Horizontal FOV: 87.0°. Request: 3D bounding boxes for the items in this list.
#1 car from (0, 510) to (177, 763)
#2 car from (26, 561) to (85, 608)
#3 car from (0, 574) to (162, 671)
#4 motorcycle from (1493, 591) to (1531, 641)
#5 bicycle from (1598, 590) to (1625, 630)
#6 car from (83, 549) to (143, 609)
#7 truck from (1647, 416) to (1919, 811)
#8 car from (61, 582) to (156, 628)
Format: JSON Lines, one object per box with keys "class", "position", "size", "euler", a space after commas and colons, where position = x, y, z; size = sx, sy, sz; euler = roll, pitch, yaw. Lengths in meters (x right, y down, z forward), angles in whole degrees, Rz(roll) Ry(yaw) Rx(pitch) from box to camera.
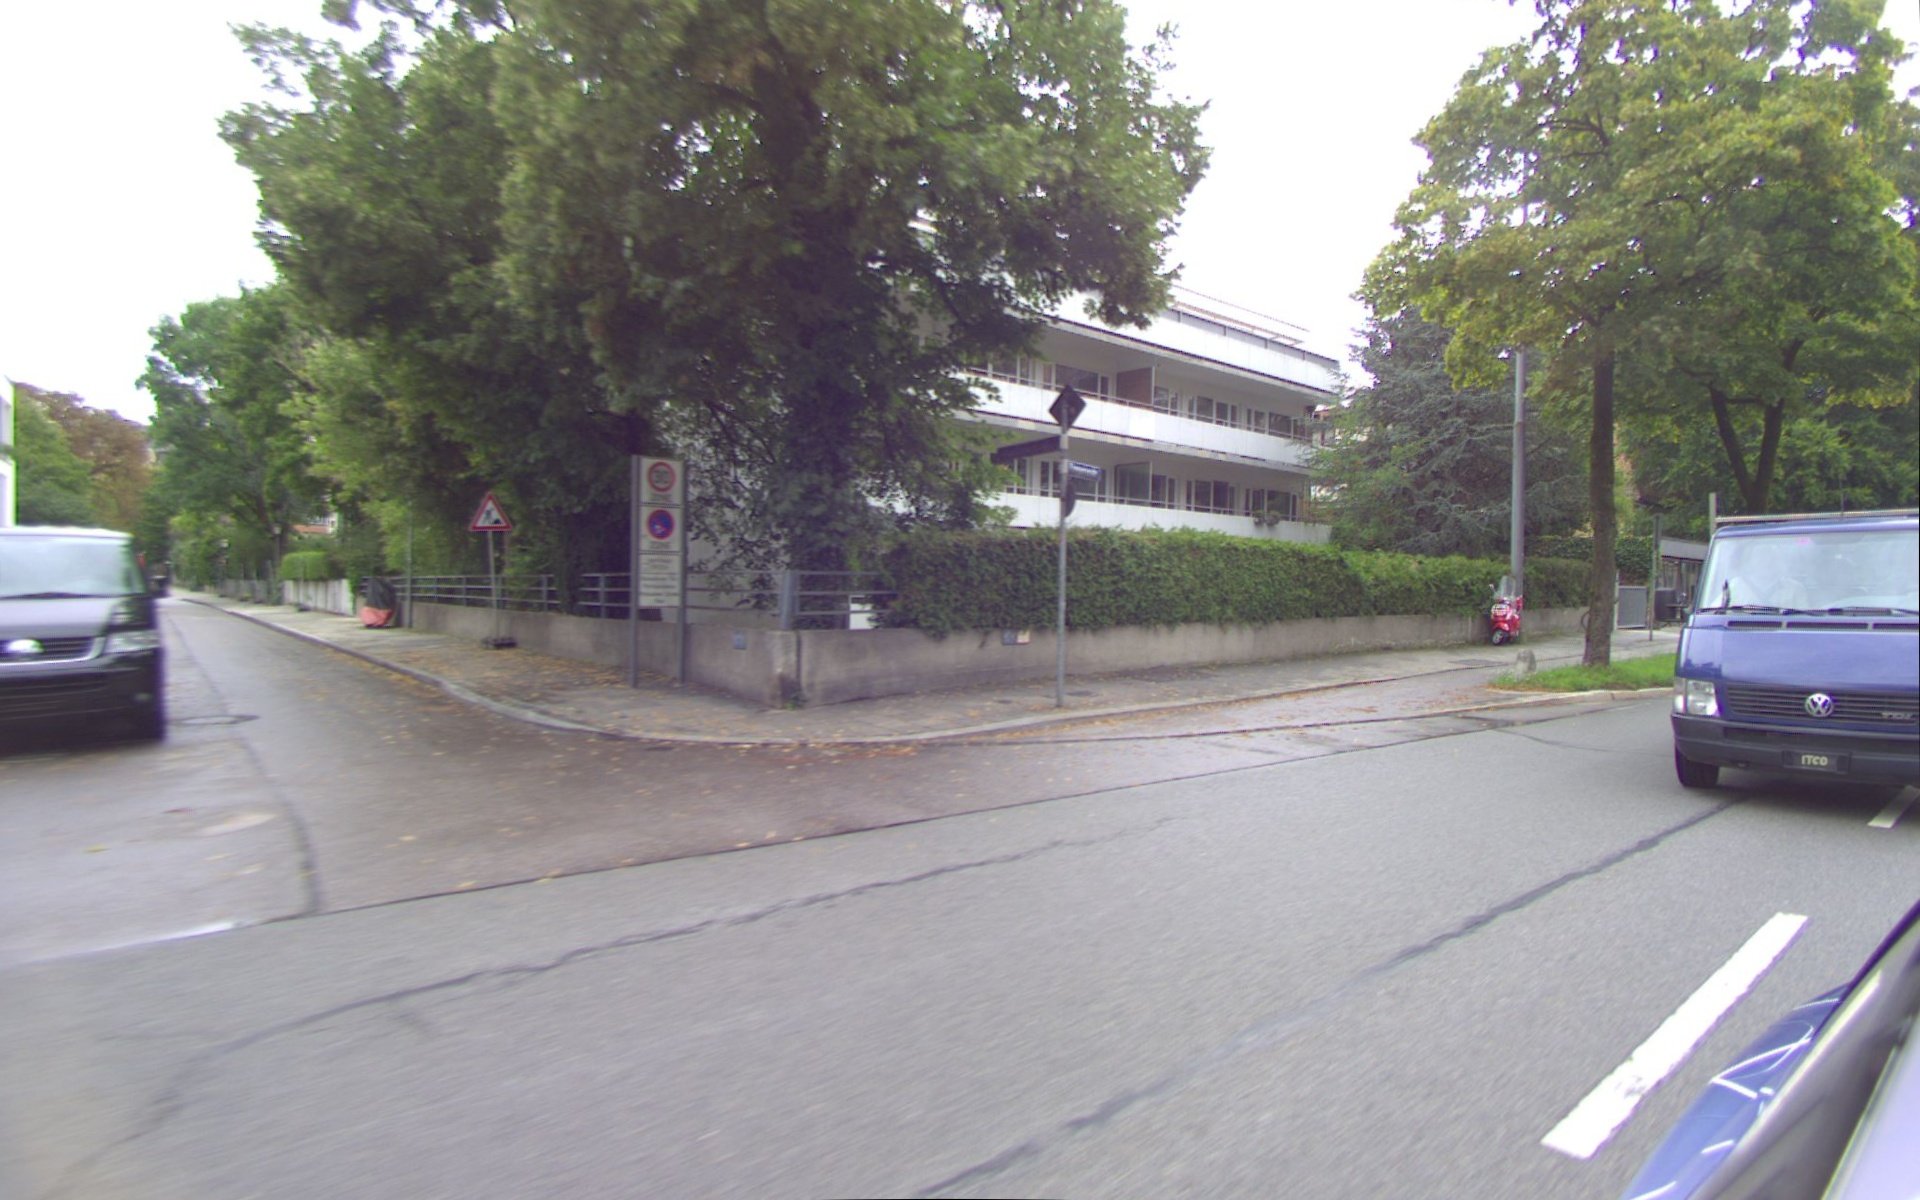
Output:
{"class": "car", "position": [-8.796, 0.214, 9.658], "size": [1.843, 1.947, 4.728], "euler": [-1, 2, -41]}
{"class": "car", "position": [-40.003, -0.738, 44.830], "size": [1.835, 2.005, 4.222], "euler": [-1, 2, -41]}
{"class": "car", "position": [-15.194, 0.301, 17.569], "size": [1.833, 1.483, 4.000], "euler": [-1, 1, -35]}
{"class": "motorcycle", "position": [13.088, 0.362, 23.986], "size": [0.494, 1.156, 1.610], "euler": [1, 1, 39]}
{"class": "bicycle", "position": [18.615, 0.266, 28.907], "size": [0.488, 1.113, 1.610], "euler": [1, 1, 39]}
{"class": "car", "position": [-35.794, -0.924, 42.767], "size": [1.835, 2.361, 4.684], "euler": [-1, 2, -41]}
{"class": "truck", "position": [7.743, 0.070, 8.487], "size": [5.060, 2.520, 1.997], "euler": [0, 1, -41]}
{"class": "car", "position": [-24.915, 0.163, 29.711], "size": [1.832, 1.270, 2.999], "euler": [0, -1, -35]}
